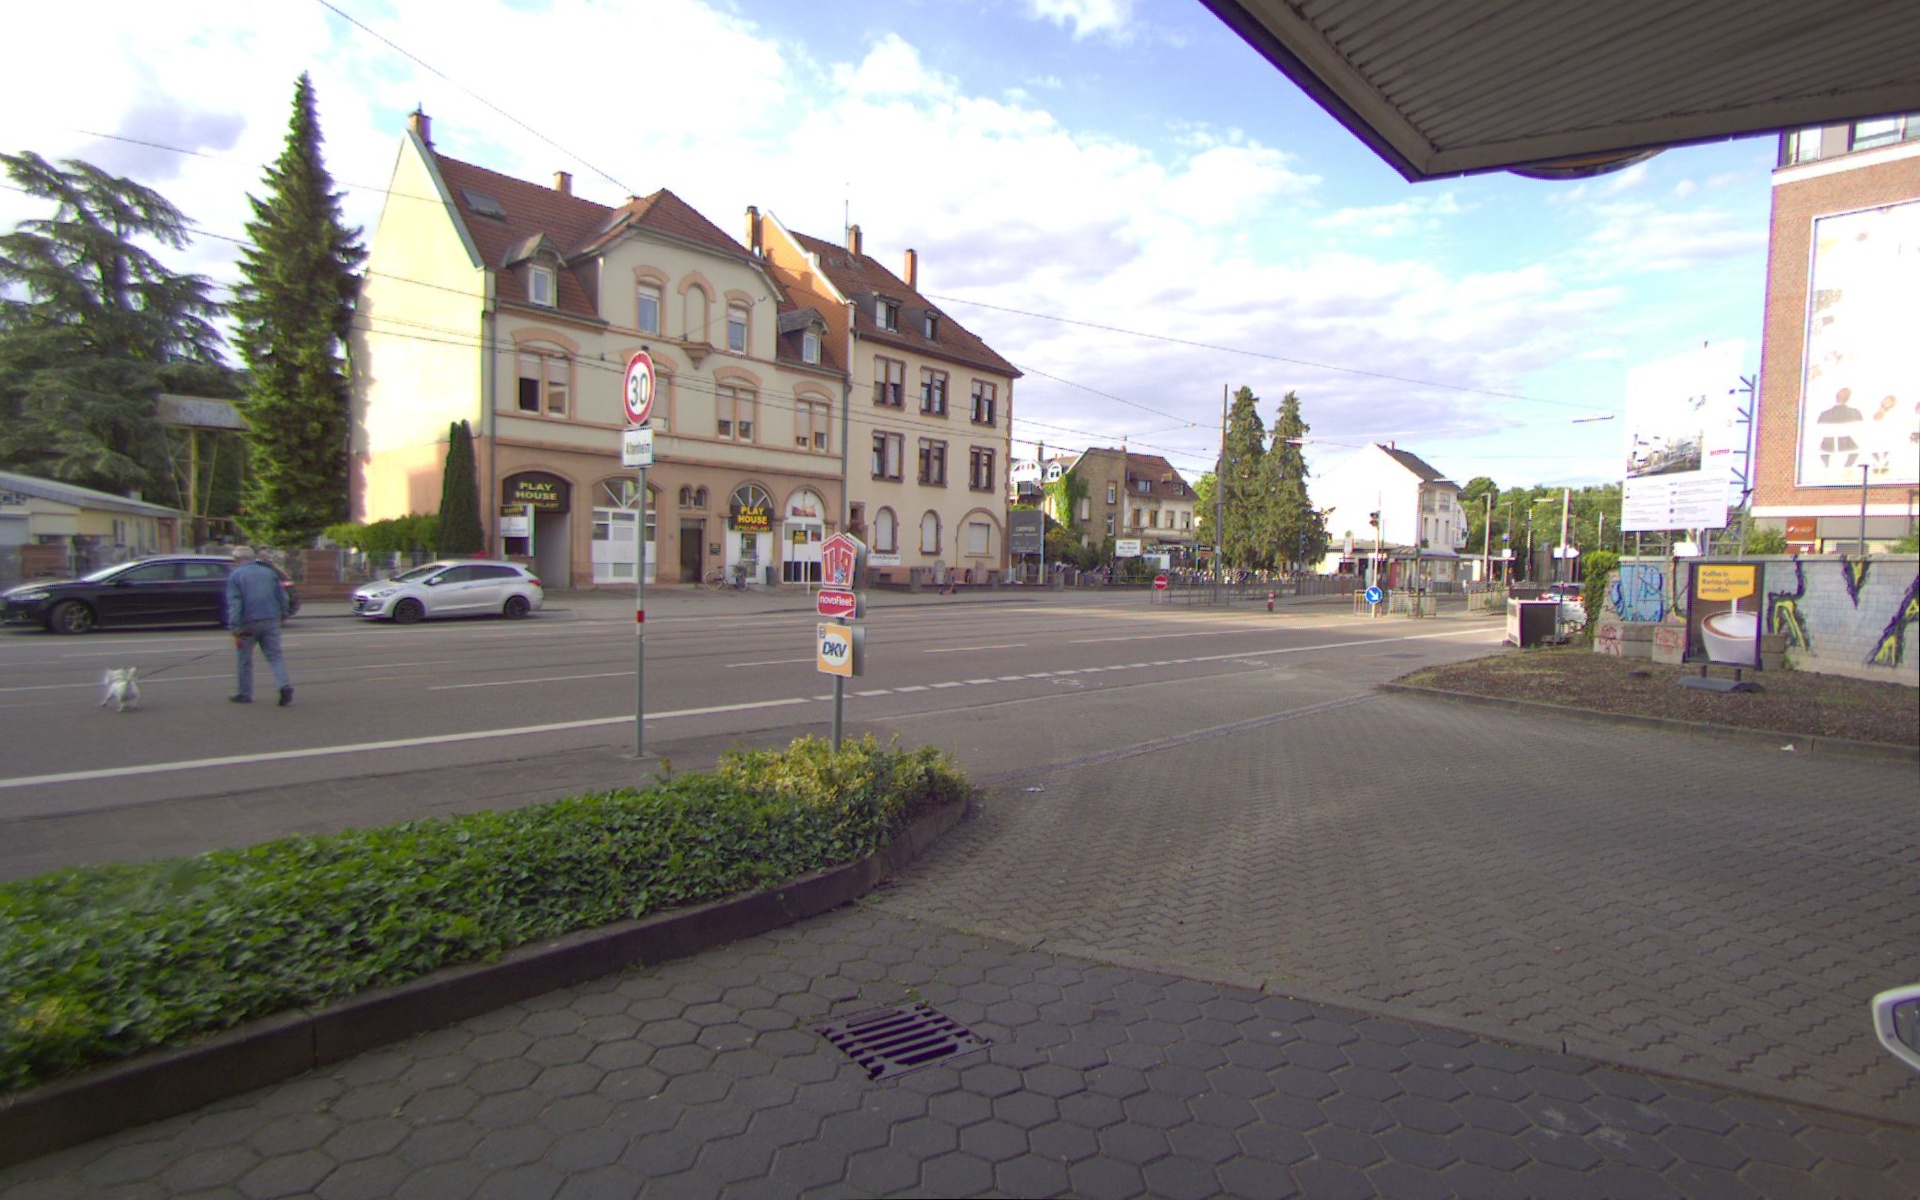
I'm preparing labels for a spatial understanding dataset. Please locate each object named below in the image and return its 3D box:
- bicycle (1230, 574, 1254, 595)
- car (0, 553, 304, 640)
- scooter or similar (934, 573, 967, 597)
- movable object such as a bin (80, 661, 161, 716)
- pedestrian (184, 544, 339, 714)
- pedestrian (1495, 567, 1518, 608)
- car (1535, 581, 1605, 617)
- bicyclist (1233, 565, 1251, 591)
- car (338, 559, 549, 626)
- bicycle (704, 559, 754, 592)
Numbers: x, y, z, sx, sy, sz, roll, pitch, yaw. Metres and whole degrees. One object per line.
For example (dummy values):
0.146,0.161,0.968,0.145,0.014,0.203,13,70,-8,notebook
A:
16.991,-0.963,60.497,0.670,1.239,1.909,2,2,41,bicycle
-16.595,-0.137,20.734,1.983,1.520,4.755,4,4,39,car
-0.430,-0.662,45.110,0.461,1.041,1.655,4,3,40,scooter or similar
-8.545,0.892,10.222,0.669,0.426,0.479,5,5,36,movable object such as a bin
-7.505,0.269,10.833,0.952,1.691,1.003,4,4,22,pedestrian
27.586,-0.641,50.670,0.797,2.040,0.846,2,0,41,pedestrian
27.369,-0.068,44.988,1.730,1.488,4.543,4,3,43,car
16.993,-1.339,60.492,0.670,1.555,1.080,2,2,41,bicyclist
-12.915,-0.232,25.356,1.699,1.503,4.434,4,4,40,car
-9.101,-0.952,39.609,0.665,1.229,1.862,4,2,41,bicycle
